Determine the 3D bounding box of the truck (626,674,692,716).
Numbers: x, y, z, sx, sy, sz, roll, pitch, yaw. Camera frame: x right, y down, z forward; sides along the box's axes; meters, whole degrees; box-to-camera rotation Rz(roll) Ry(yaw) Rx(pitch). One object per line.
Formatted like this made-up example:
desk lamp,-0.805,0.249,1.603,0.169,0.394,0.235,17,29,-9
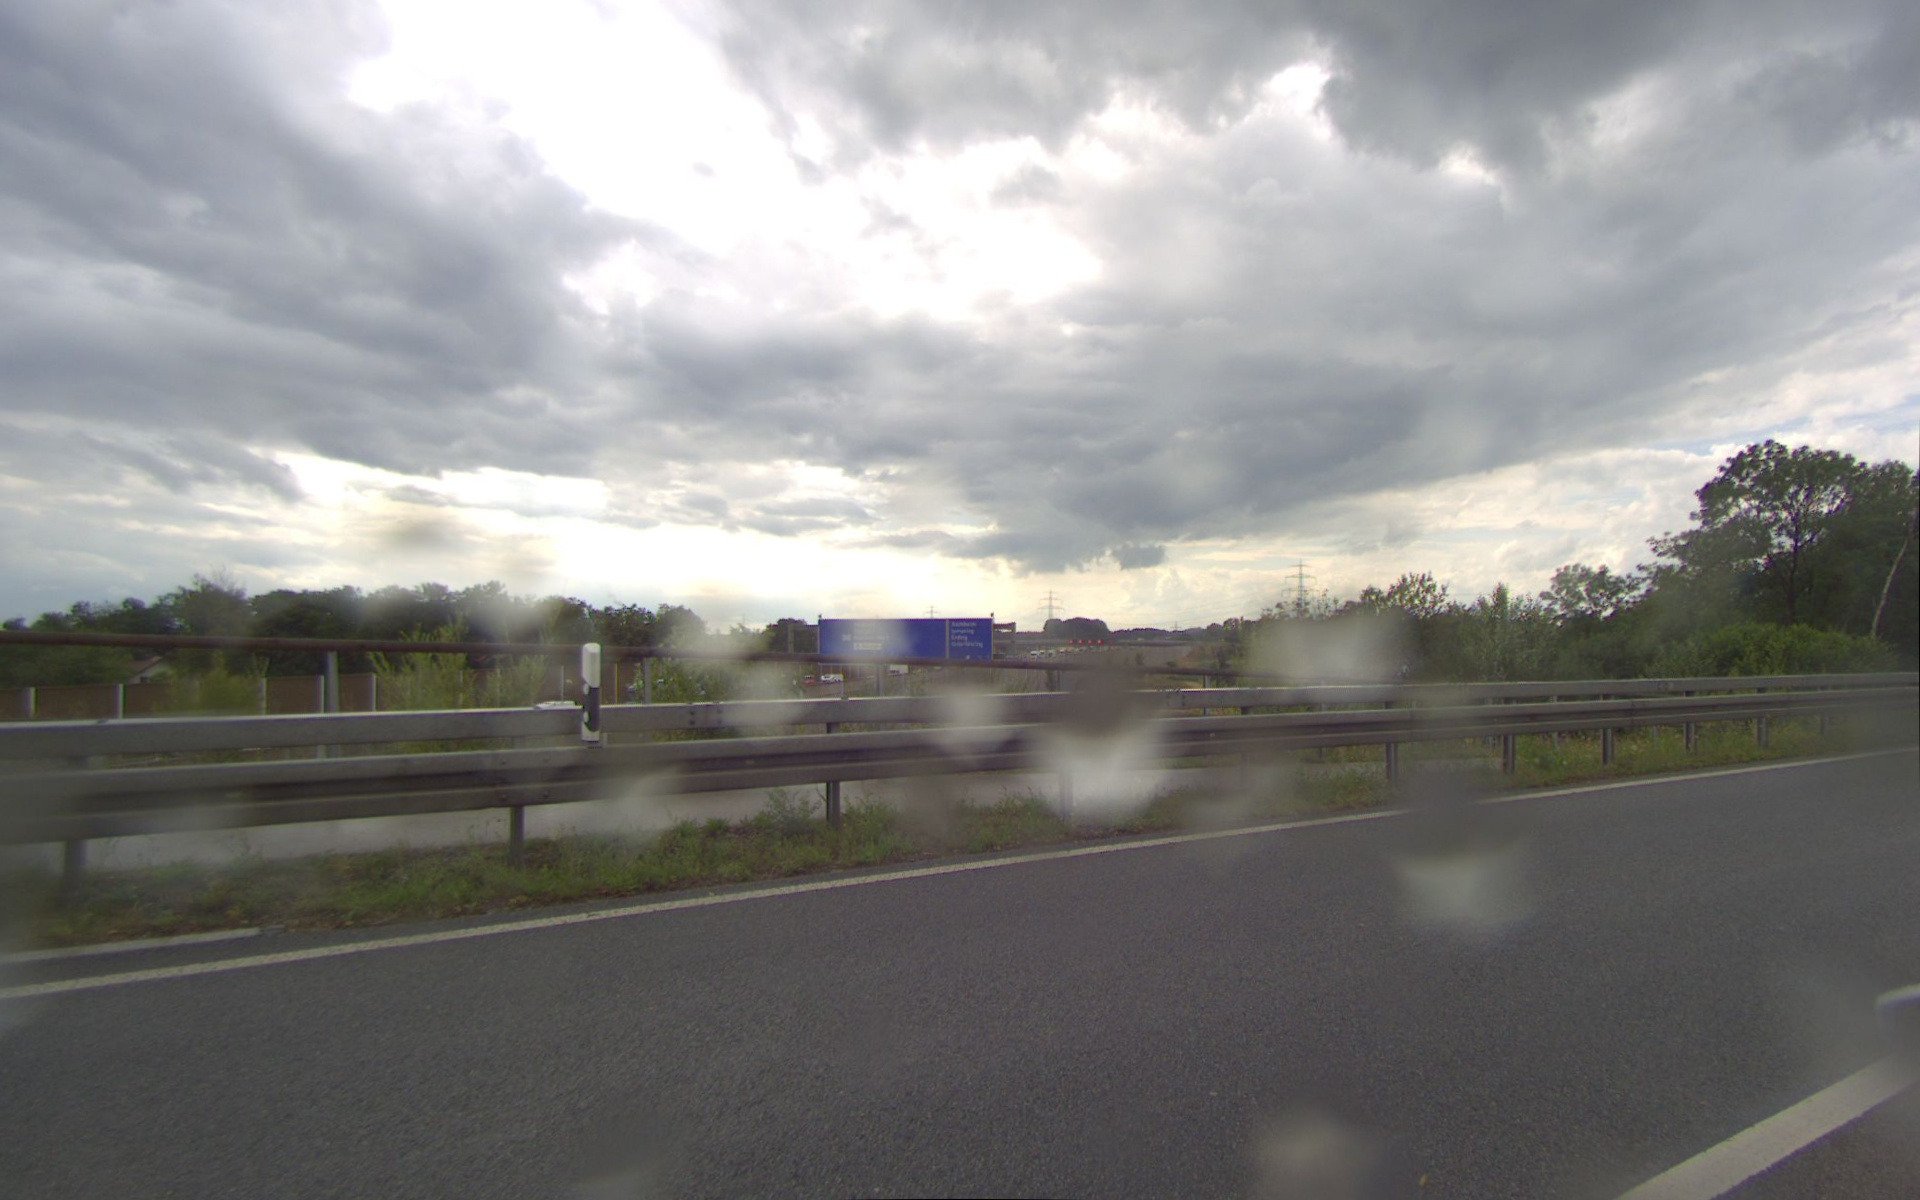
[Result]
truck,-37.992,11.912,127.216,2.388,4.249,11.175,1,-1,15

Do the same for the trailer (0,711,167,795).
trailer,-54.661,9.239,61.921,2.388,3.812,9.463,1,-1,15

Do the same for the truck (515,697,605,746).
truck,-41.255,12.478,104.261,2.388,3.812,11.175,1,-1,15
